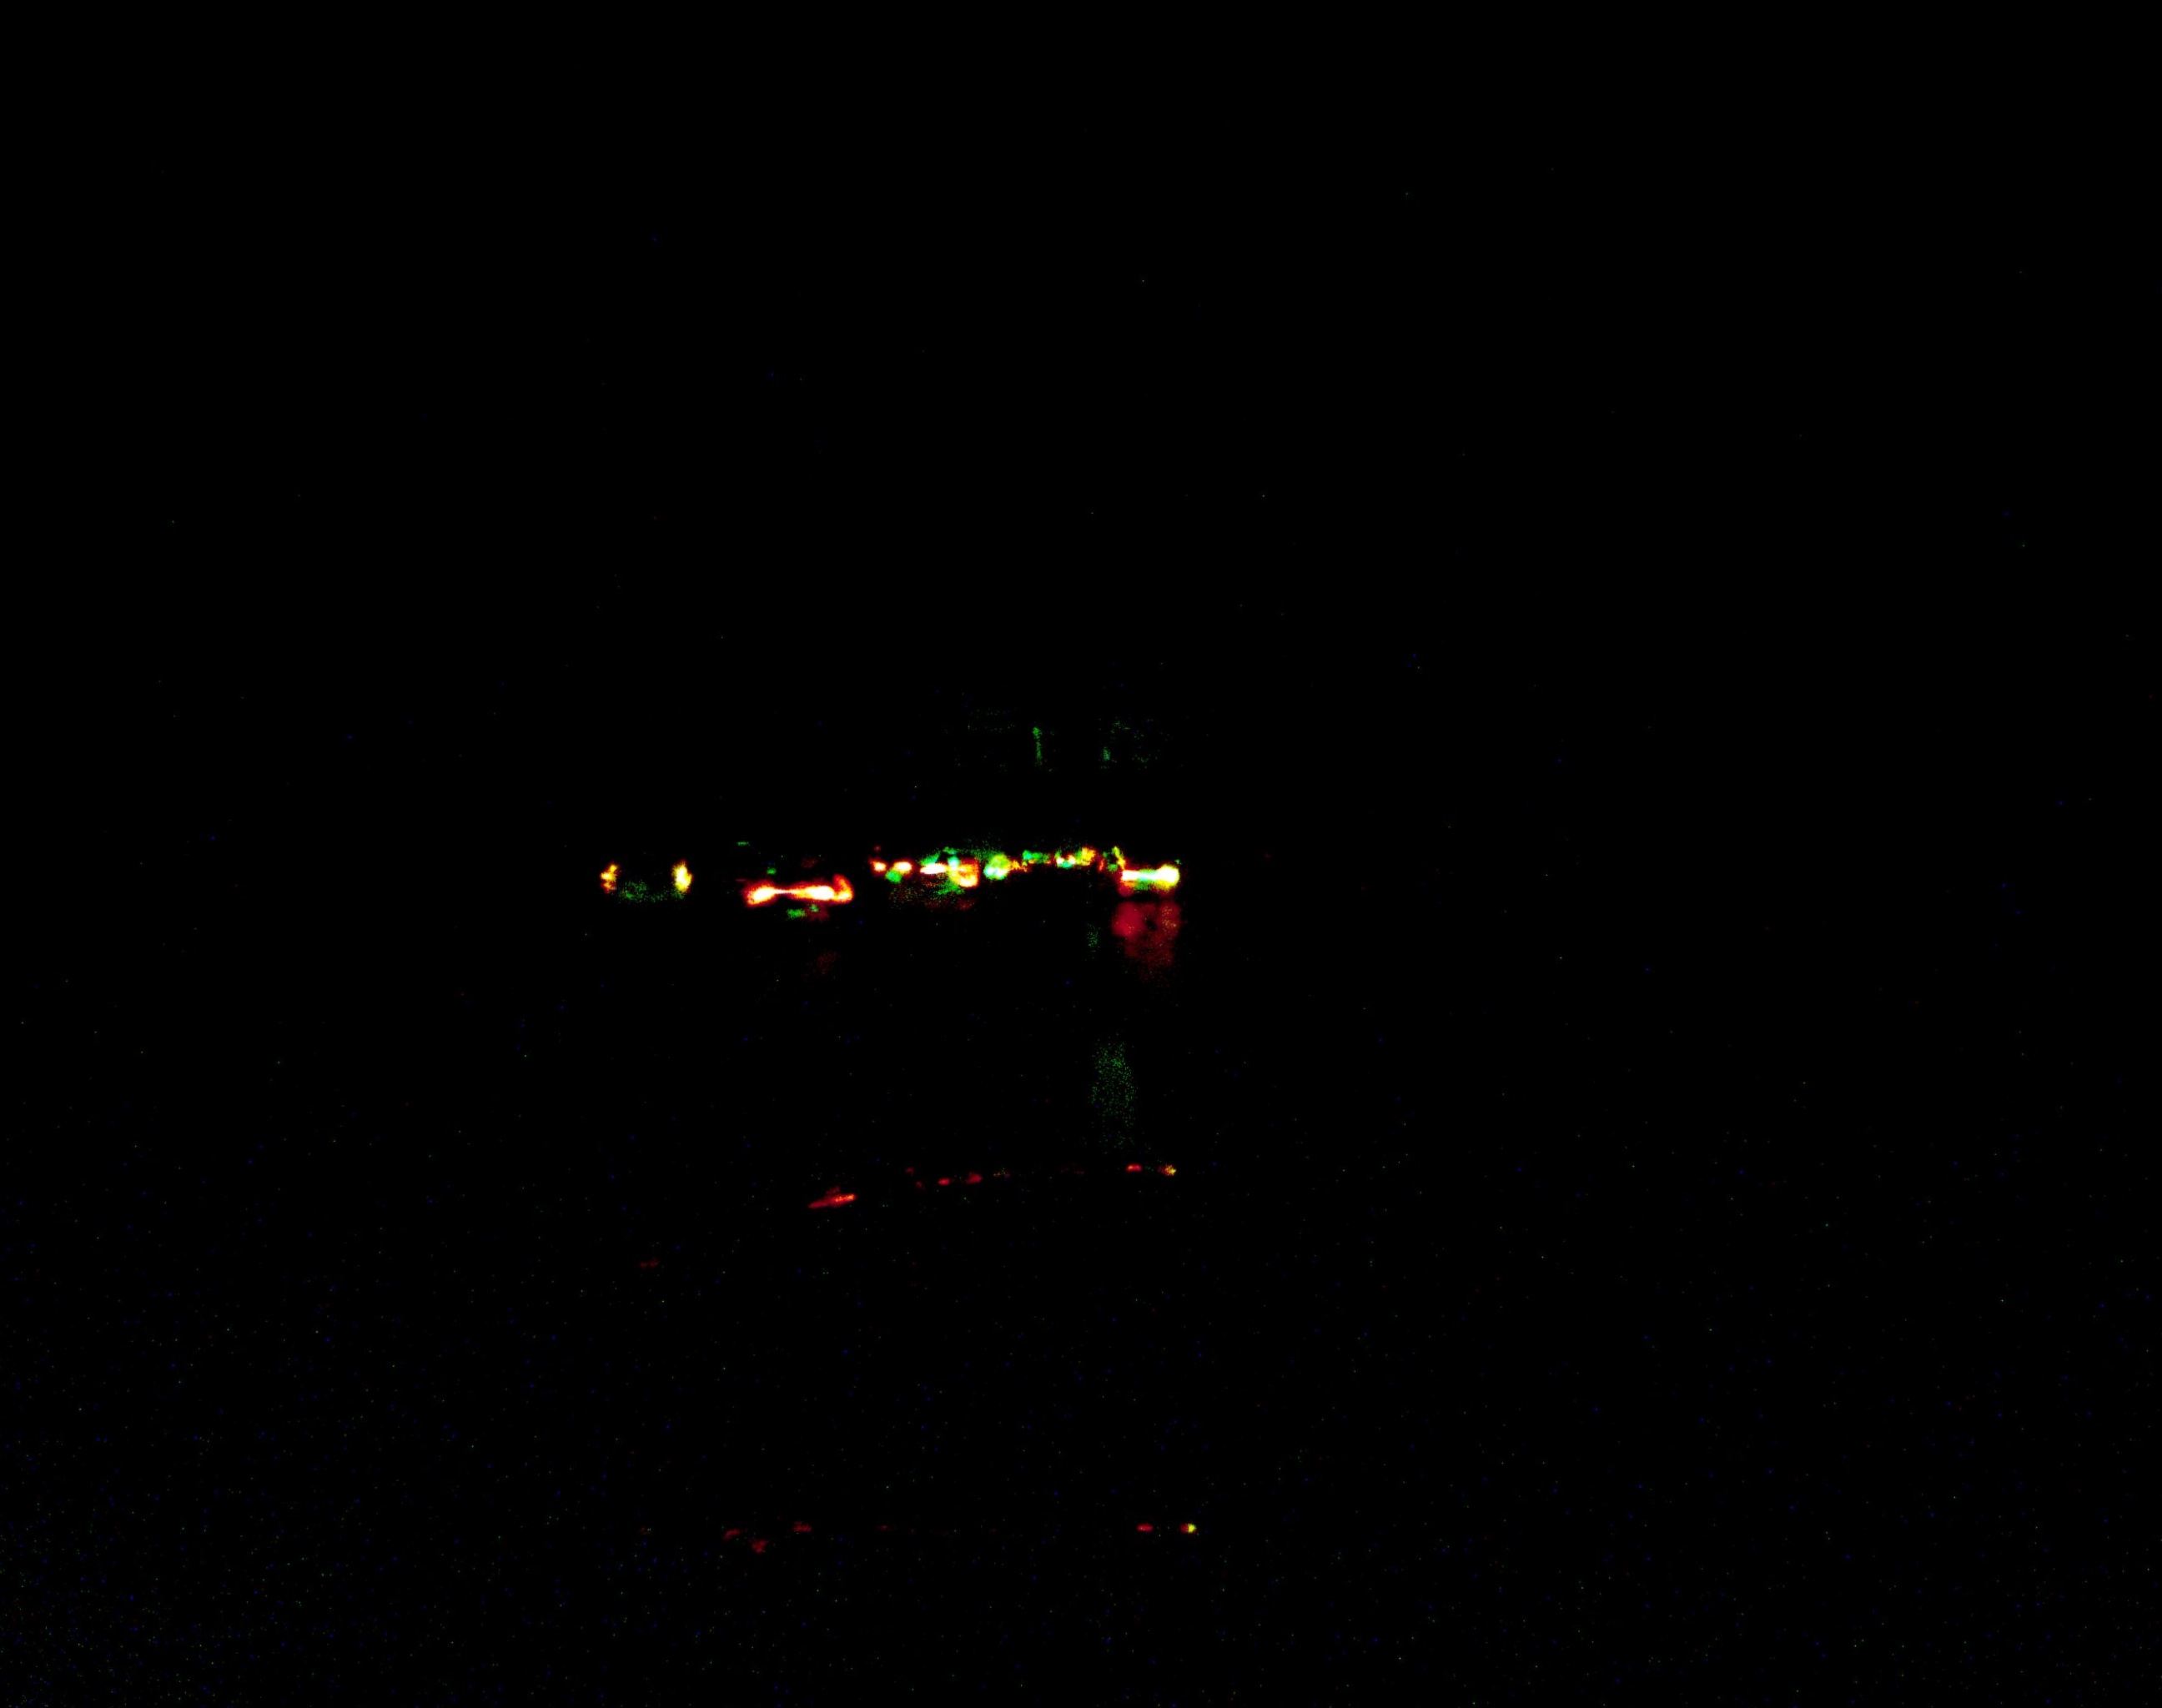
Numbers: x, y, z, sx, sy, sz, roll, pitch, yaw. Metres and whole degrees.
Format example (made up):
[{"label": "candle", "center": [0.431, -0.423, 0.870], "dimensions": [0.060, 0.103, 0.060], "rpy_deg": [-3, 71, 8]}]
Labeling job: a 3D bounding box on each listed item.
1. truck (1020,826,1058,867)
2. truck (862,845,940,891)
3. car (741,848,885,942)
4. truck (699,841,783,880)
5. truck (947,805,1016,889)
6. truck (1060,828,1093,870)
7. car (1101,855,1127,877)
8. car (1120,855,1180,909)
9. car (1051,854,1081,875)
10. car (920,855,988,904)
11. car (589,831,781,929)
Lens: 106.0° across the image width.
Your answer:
[{"label": "truck", "center": [-5.704, -0.924, 112.514], "dimensions": [4.238, 5.444, 10.889], "rpy_deg": [0, 0, 2]}, {"label": "truck", "center": [-9.115, 0.694, 41.889], "dimensions": [2.850, 2.201, 5.853], "rpy_deg": [0, 0, -2]}, {"label": "car", "center": [-5.339, 0.730, 16.770], "dimensions": [1.761, 1.689, 3.997], "rpy_deg": [-1, 0, -2]}, {"label": "truck", "center": [-25.992, 0.485, 62.787], "dimensions": [2.889, 2.846, 7.748], "rpy_deg": [0, 0, 3]}, {"label": "truck", "center": [-6.022, -0.374, 50.869], "dimensions": [3.649, 4.737, 9.839], "rpy_deg": [0, 0, -4]}, {"label": "truck", "center": [-0.699, -0.613, 108.470], "dimensions": [4.151, 5.215, 9.945], "rpy_deg": [0, 0, -2]}, {"label": "car", "center": [2.561, 0.931, 64.242], "dimensions": [1.987, 1.704, 4.458], "rpy_deg": [0, 0, 1]}, {"label": "car", "center": [2.376, 0.943, 28.855], "dimensions": [1.871, 1.762, 4.001], "rpy_deg": [0, 0, 1]}, {"label": "car", "center": [-1.433, 1.018, 80.620], "dimensions": [2.823, 2.014, 5.511], "rpy_deg": [0, 0, 1]}, {"label": "car", "center": [-4.851, 0.931, 31.804], "dimensions": [2.033, 1.761, 4.513], "rpy_deg": [0, 0, -1]}, {"label": "car", "center": [-9.652, 0.573, 20.539], "dimensions": [2.116, 2.104, 5.627], "rpy_deg": [-1, 0, 0]}]
